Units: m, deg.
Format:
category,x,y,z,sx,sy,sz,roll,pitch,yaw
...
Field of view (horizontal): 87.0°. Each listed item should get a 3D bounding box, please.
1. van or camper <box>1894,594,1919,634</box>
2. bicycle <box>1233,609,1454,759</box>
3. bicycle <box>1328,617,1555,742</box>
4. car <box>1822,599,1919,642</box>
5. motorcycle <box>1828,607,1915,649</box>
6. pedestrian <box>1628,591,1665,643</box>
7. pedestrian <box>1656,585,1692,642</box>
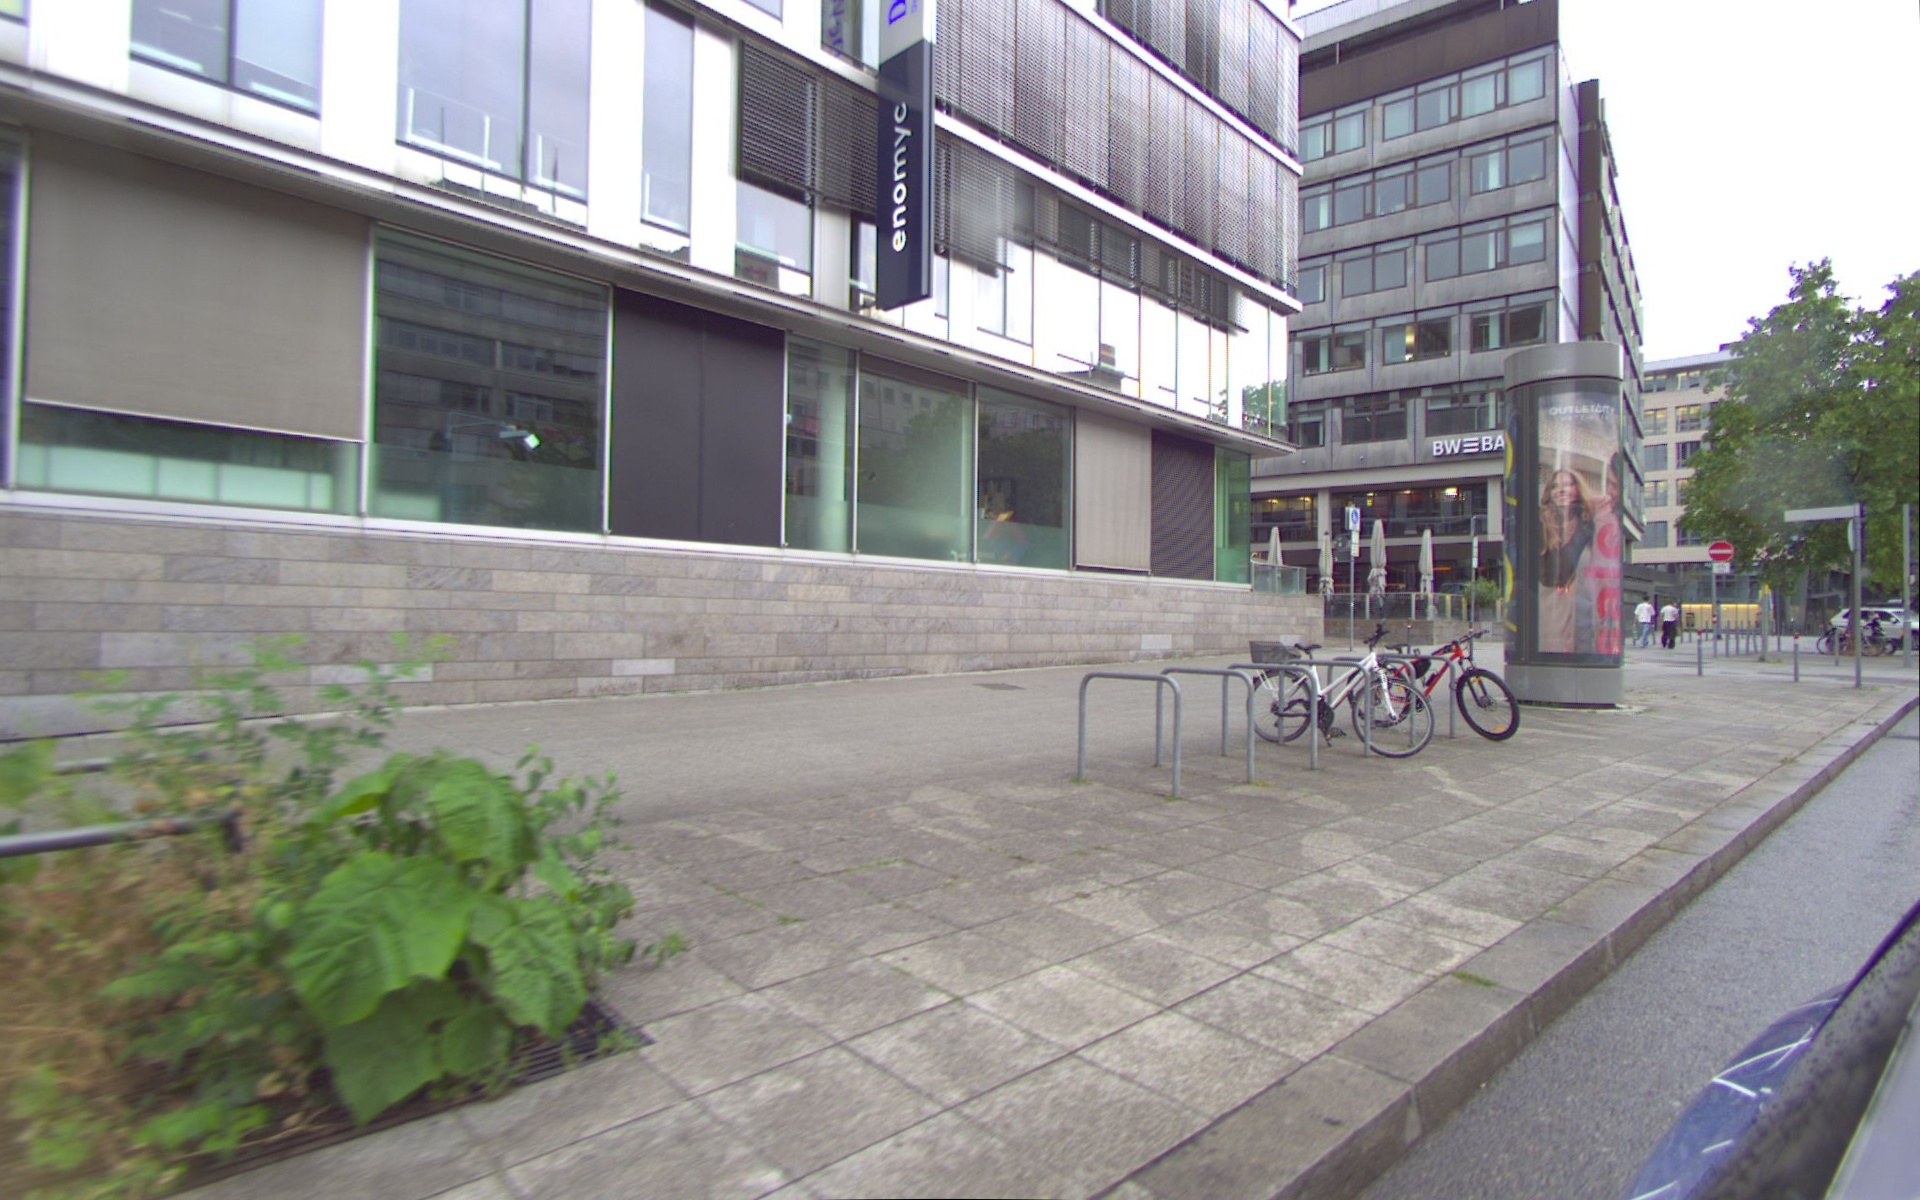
category,x,y,z,sx,sy,sz,roll,pitch,yaw
van or camper,60.707,0.851,60.992,2.267,2.479,6.275,0,-1,-11
bicycle,3.490,0.709,9.368,0.648,1.212,1.841,1,0,-37
bicycle,4.926,0.763,10.491,0.793,1.118,1.989,1,0,-37
car,38.114,0.826,40.909,1.876,1.671,4.811,0,-1,-11
motorcycle,31.153,0.949,34.613,0.664,1.375,2.090,1,-2,-34
pedestrian,25.368,0.629,37.393,0.881,1.893,0.803,1,-2,-34
pedestrian,26.070,0.488,36.964,0.739,2.065,0.851,1,-2,-39
